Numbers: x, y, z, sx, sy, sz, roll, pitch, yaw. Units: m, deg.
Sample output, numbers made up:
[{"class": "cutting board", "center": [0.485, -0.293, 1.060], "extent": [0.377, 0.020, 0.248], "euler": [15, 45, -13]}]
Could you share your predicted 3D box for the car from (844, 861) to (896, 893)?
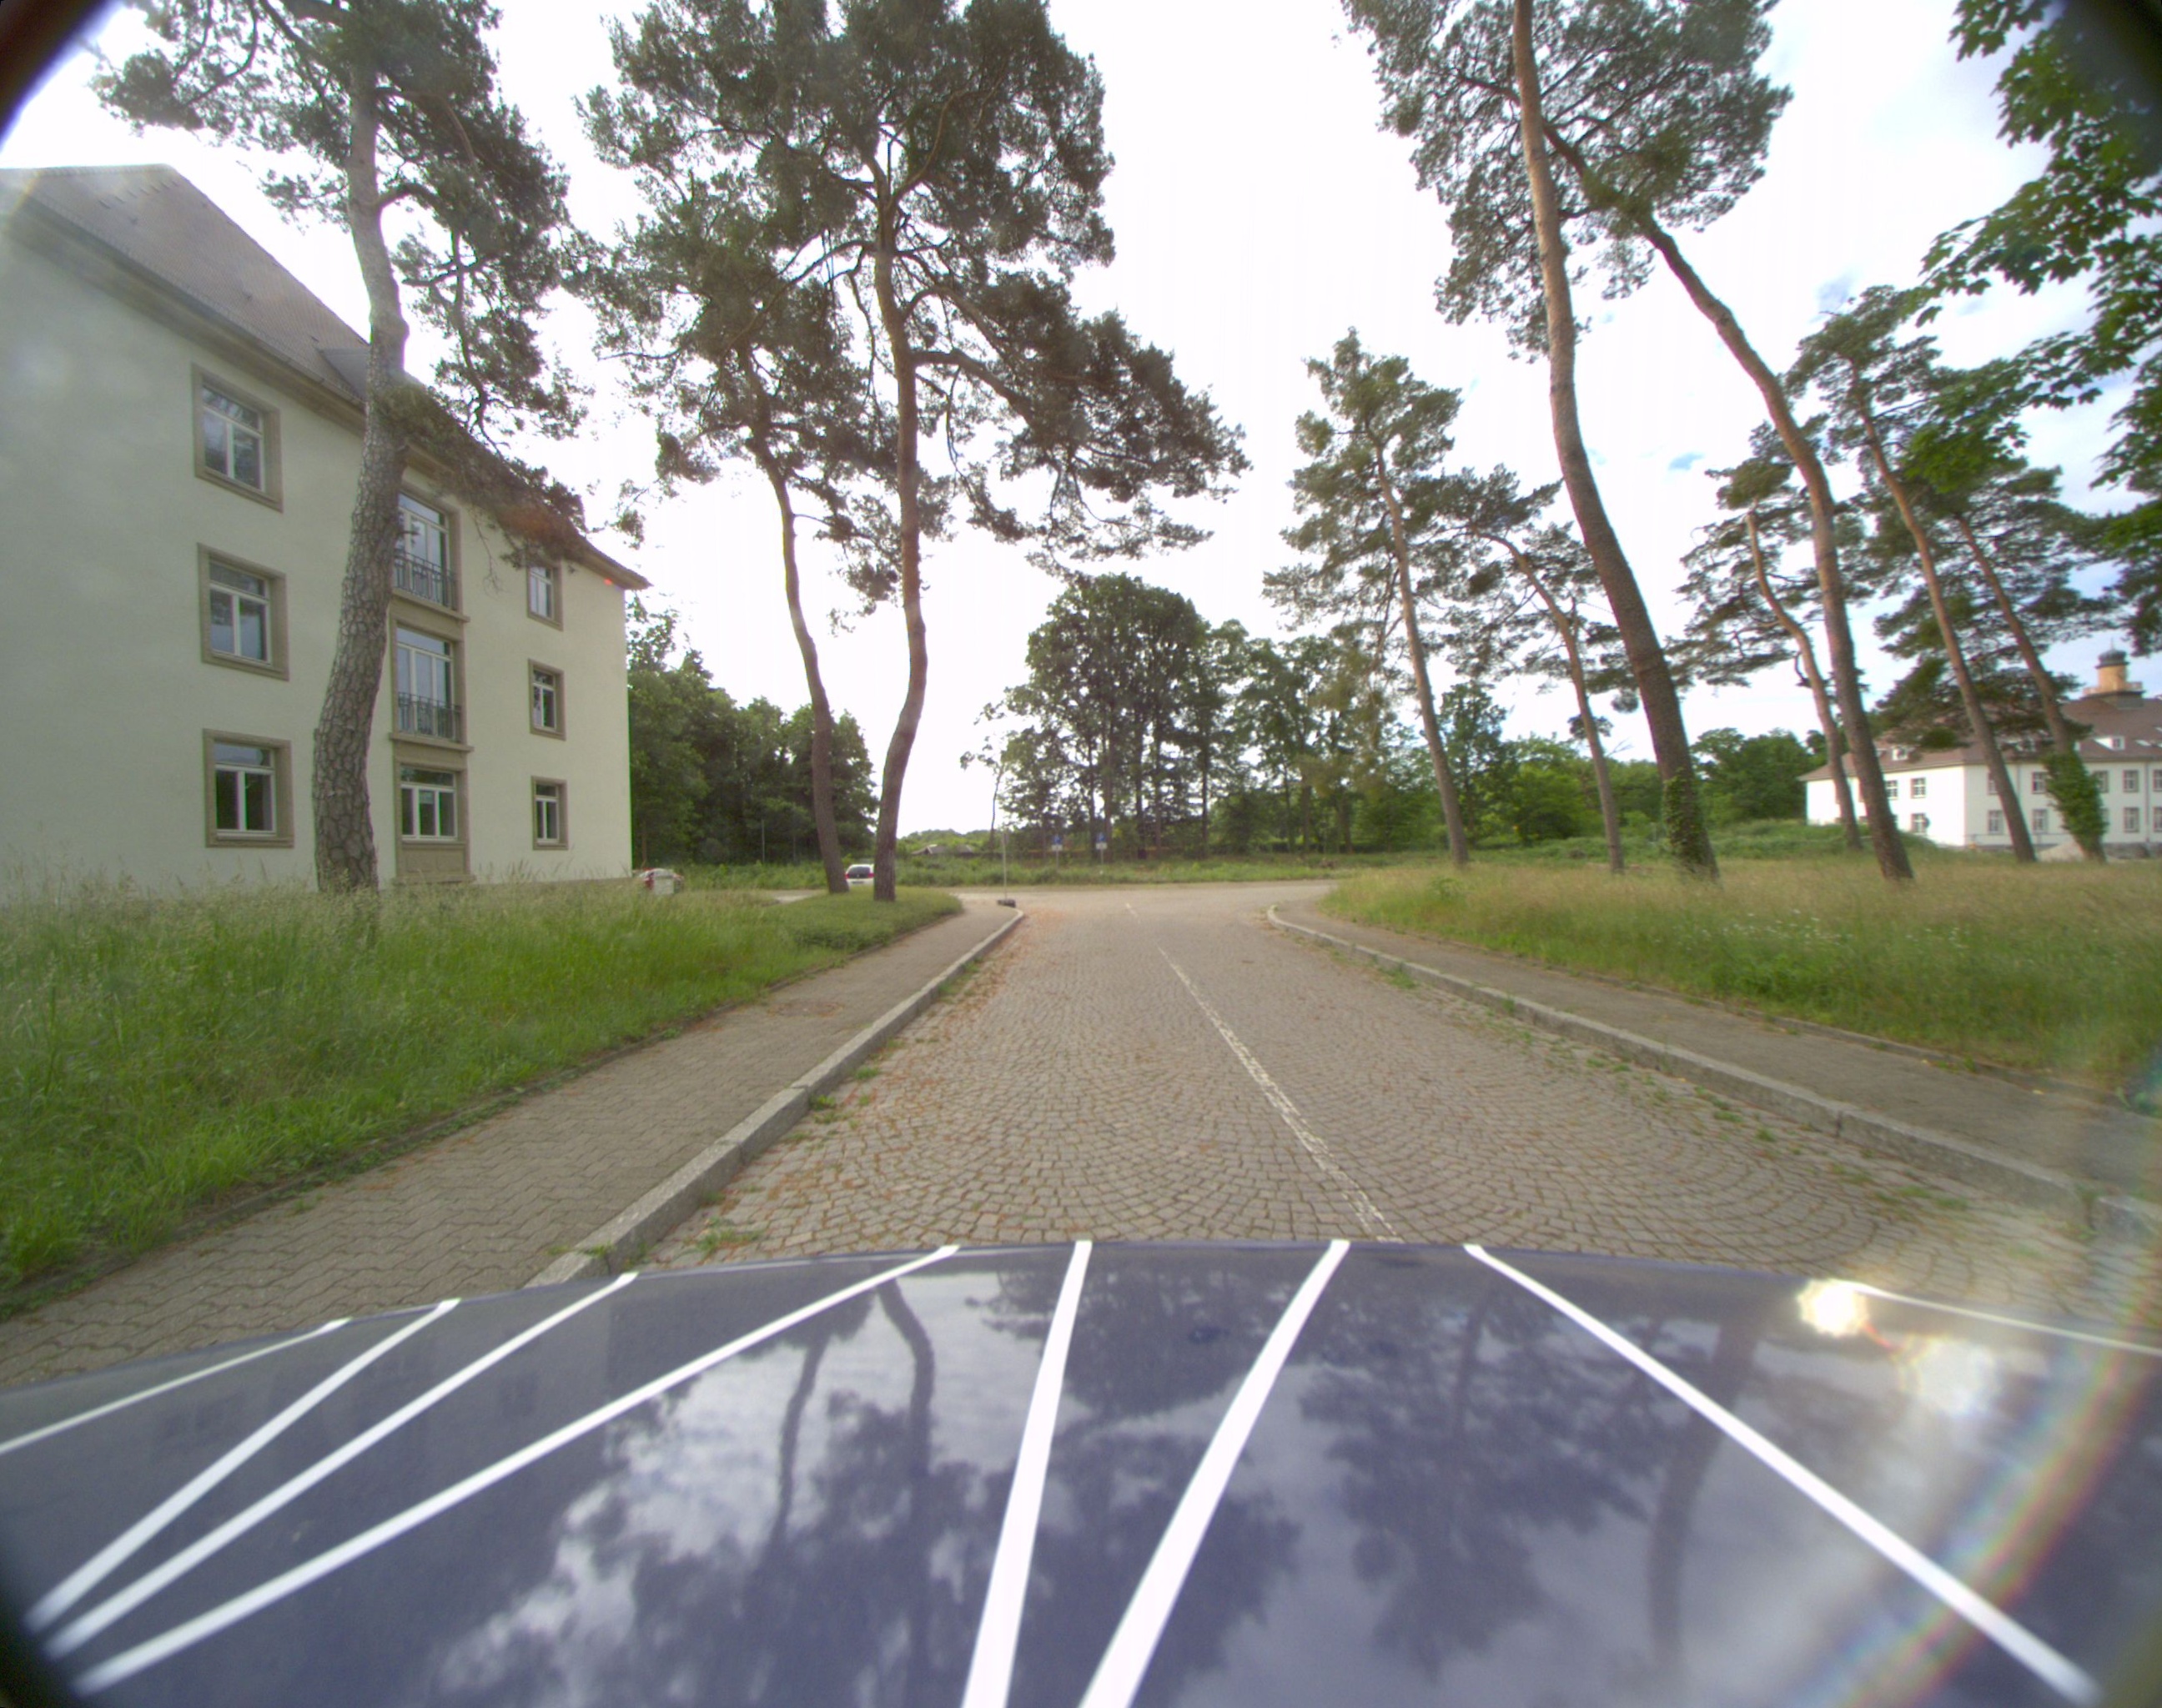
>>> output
[{"class": "car", "center": [-10.811, 1.152, 39.120], "extent": [1.641, 1.426, 3.277], "euler": [-1, 2, 1]}]

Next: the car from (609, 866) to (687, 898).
[{"class": "car", "center": [-22.116, 1.411, 38.995], "extent": [1.641, 1.321, 3.999], "euler": [-1, 2, 1]}]
